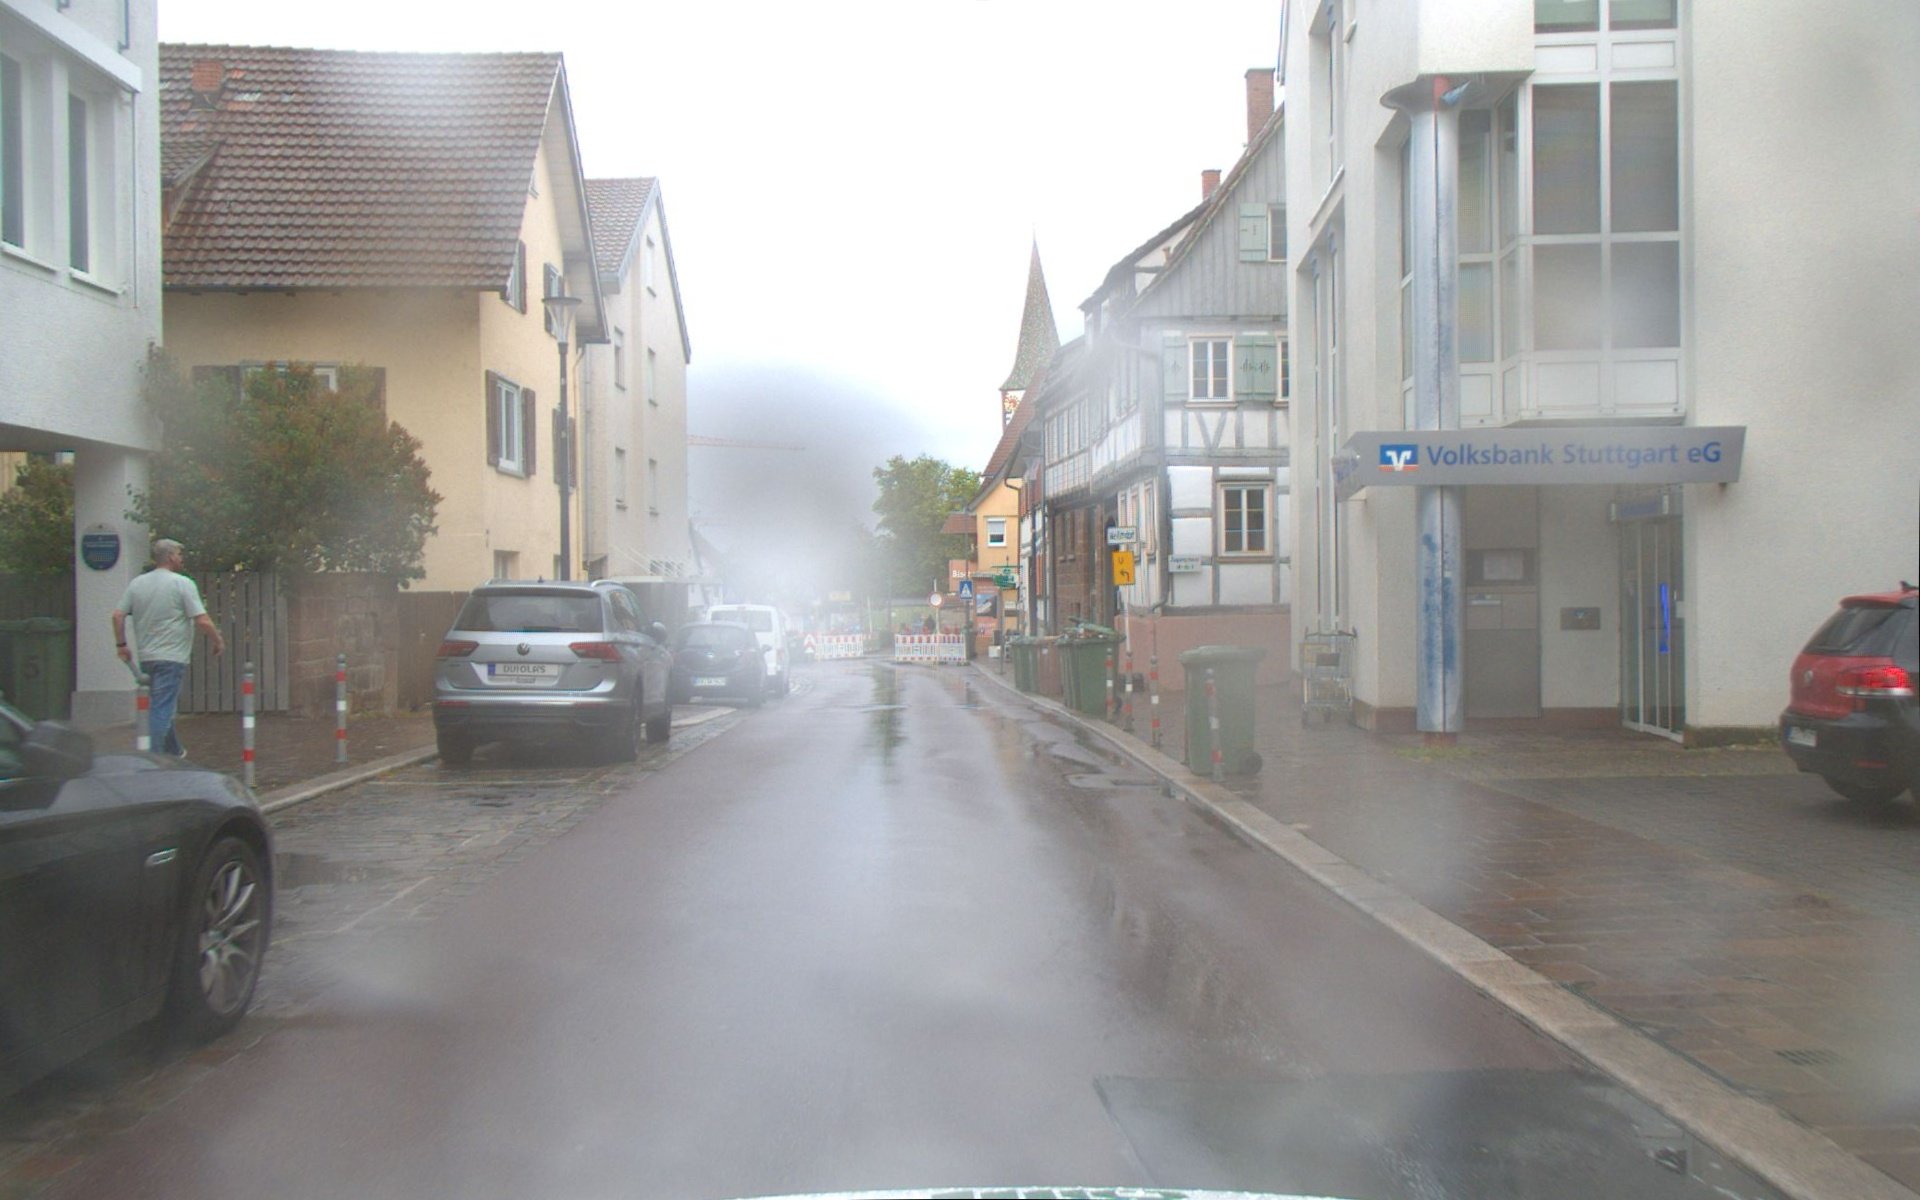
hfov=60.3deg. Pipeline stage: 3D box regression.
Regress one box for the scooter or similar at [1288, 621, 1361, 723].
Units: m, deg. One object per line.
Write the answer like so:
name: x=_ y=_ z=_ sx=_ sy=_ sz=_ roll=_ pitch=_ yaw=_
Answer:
scooter or similar: x=4.346 y=0.845 z=19.811 sx=0.651 sy=1.166 sz=1.446 roll=-1 pitch=-1 yaw=5

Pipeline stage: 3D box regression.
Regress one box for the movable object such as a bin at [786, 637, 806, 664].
movable object such as a bin: x=-6.511 y=2.001 z=65.595 sx=0.533 sy=1.051 sz=0.533 roll=-4 pitch=-3 yaw=31

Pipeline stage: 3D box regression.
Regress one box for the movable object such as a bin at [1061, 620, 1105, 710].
movable object such as a bin: x=1.837 y=0.969 z=24.728 sx=0.624 sy=1.313 sz=0.632 roll=-1 pitch=-2 yaw=3

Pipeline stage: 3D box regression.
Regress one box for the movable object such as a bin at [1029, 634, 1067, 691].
movable object such as a bin: x=1.727 y=1.228 z=32.618 sx=0.656 sy=1.100 sz=0.587 roll=-2 pitch=-2 yaw=-4

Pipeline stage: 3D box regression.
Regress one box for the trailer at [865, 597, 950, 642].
trailer: x=-3.611 y=1.341 z=112.886 sx=5.671 sy=2.999 sz=1.996 roll=0 pitch=-2 yaw=-8

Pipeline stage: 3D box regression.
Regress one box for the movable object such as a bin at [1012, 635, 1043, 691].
movable object such as a bin: x=1.420 y=1.316 z=34.655 sx=0.624 sy=1.167 sz=0.580 roll=-1 pitch=-2 yaw=3

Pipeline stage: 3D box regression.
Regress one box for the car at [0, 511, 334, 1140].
car: x=-3.234 y=0.569 z=3.812 sx=1.793 sy=1.525 sz=4.762 roll=-2 pitch=0 yaw=-1

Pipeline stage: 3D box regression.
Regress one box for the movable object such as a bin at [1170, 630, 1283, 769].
movable object such as a bin: x=2.293 y=0.846 z=14.321 sx=0.788 sy=1.151 sz=0.862 roll=-1 pitch=-2 yaw=-4

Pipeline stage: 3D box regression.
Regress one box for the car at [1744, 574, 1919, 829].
car: x=7.550 y=0.560 z=10.870 sx=3.902 sy=1.541 sz=1.913 roll=-2 pitch=0 yaw=8

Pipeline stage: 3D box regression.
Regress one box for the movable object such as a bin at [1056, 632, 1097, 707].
movable object such as a bin: x=1.838 y=1.092 z=26.149 sx=0.603 sy=1.151 sz=0.632 roll=-1 pitch=-2 yaw=2

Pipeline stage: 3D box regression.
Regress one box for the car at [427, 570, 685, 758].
car: x=-3.841 y=0.601 z=16.432 sx=1.744 sy=1.596 sz=4.404 roll=-1 pitch=-1 yaw=-4

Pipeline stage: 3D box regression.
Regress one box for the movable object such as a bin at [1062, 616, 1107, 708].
movable object such as a bin: x=1.803 y=0.896 z=24.025 sx=0.624 sy=1.313 sz=0.632 roll=-1 pitch=-2 yaw=3

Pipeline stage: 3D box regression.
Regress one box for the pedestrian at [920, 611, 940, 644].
pedestrian: x=-1.644 y=1.520 z=90.244 sx=0.971 sy=1.790 sz=0.850 roll=0 pitch=-2 yaw=-8

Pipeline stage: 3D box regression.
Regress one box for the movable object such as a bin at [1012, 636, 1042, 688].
movable object such as a bin: x=1.493 y=1.384 z=36.981 sx=0.597 sy=1.147 sz=0.599 roll=-1 pitch=-2 yaw=-2

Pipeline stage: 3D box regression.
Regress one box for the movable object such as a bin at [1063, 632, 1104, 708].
movable object such as a bin: x=1.904 y=1.075 z=25.473 sx=0.603 sy=1.151 sz=0.632 roll=-1 pitch=-2 yaw=3

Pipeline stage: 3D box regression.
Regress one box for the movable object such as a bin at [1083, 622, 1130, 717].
movable object such as a bin: x=2.058 y=0.974 z=23.253 sx=0.624 sy=1.313 sz=0.632 roll=-1 pitch=-2 yaw=3

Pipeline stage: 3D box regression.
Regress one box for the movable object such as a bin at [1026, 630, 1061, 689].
movable object such as a bin: x=1.672 y=1.197 z=33.276 sx=0.625 sy=1.167 sz=0.631 roll=0 pitch=-2 yaw=-5

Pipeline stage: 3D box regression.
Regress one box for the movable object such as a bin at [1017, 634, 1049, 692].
movable object such as a bin: x=1.506 y=1.296 z=34.023 sx=0.624 sy=1.167 sz=0.604 roll=-1 pitch=-2 yaw=3

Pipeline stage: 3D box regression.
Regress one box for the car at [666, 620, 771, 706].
car: x=-4.249 y=1.101 z=29.556 sx=1.648 sy=1.413 sz=3.820 roll=0 pitch=-1 yaw=-5

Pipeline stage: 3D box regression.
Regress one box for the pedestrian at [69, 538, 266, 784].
pedestrian: x=-6.154 y=0.456 z=12.912 sx=1.014 sy=1.838 sz=1.116 roll=0 pitch=0 yaw=-2

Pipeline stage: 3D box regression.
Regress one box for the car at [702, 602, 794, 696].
car: x=-4.458 y=1.028 z=35.273 sx=1.689 sy=1.857 sz=4.424 roll=-1 pitch=-1 yaw=-4

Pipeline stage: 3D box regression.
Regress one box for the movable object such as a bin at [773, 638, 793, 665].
movable object such as a bin: x=-7.040 y=2.045 z=65.949 sx=0.530 sy=1.055 sz=0.571 roll=-4 pitch=-3 yaw=31

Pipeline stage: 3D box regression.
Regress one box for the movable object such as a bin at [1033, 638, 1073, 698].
movable object such as a bin: x=1.770 y=1.284 z=31.424 sx=0.665 sy=1.116 sz=0.649 roll=0 pitch=-1 yaw=-6
